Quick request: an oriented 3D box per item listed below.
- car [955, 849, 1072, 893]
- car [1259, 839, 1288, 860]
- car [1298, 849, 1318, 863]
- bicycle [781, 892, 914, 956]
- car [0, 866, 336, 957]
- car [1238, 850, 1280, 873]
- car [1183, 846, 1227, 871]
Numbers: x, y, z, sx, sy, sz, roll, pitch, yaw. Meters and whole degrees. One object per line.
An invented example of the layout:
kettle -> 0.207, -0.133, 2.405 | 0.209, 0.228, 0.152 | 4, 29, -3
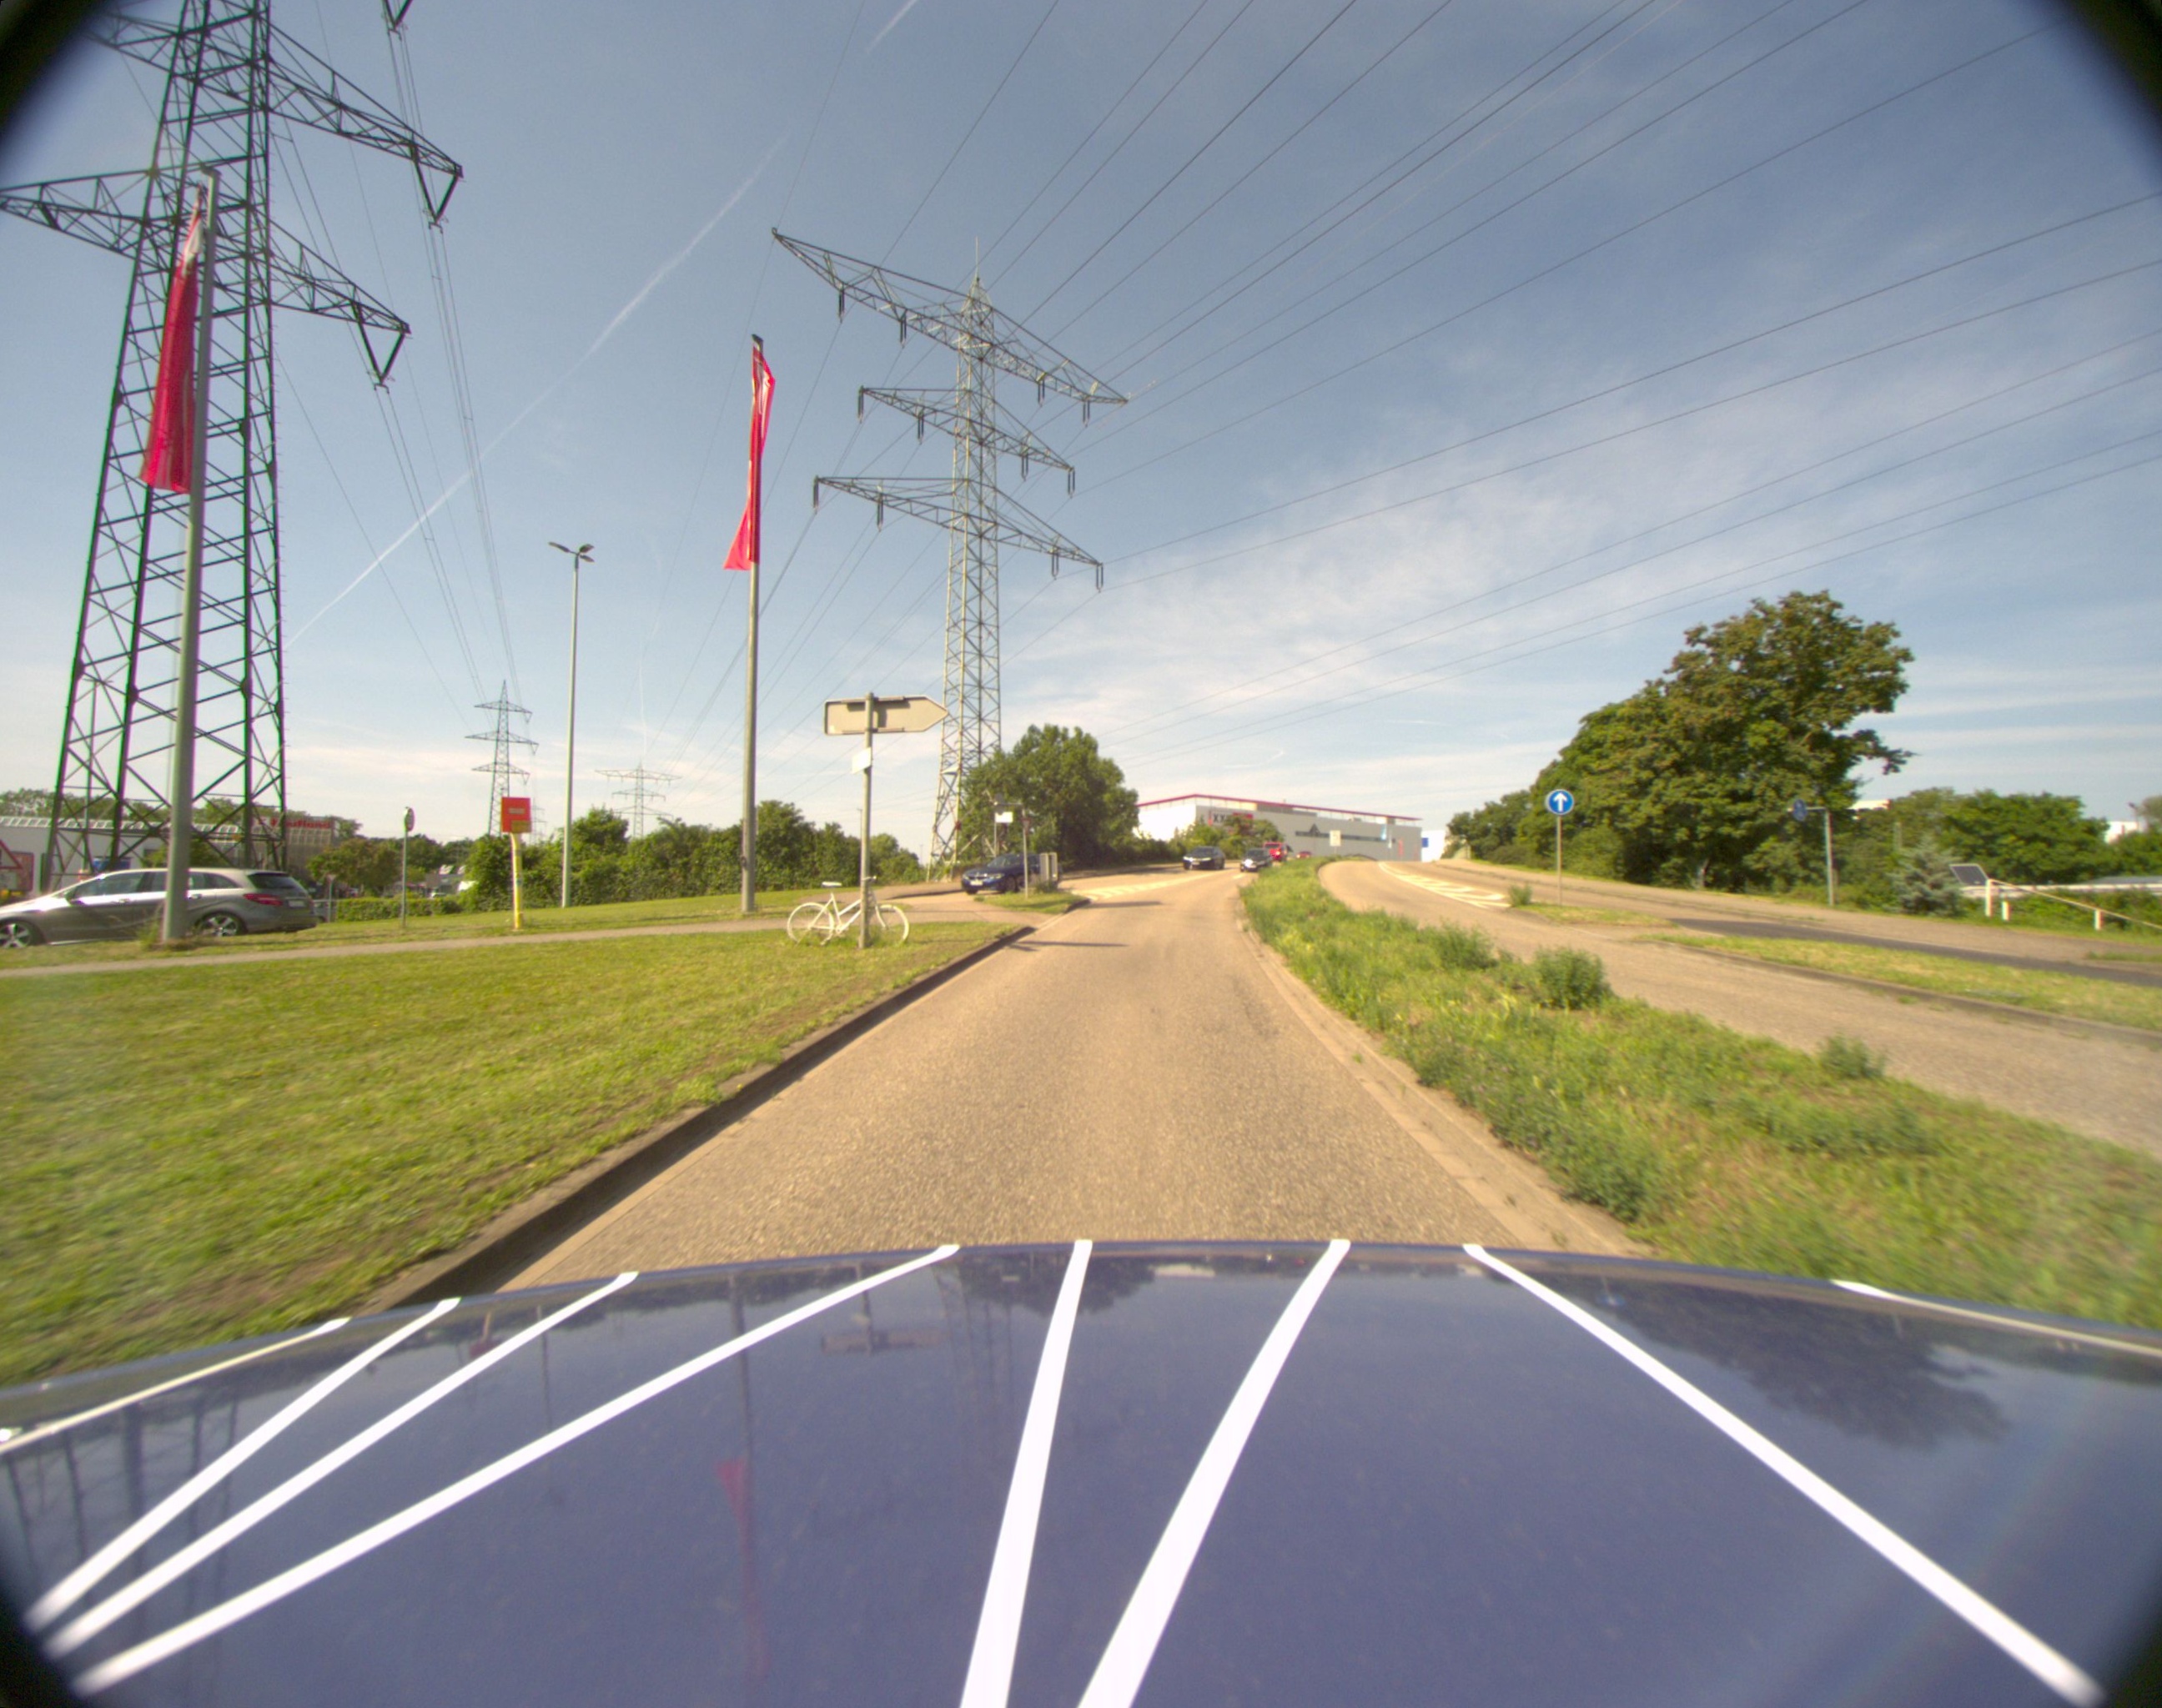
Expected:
car -> -2.341, 0.674, 27.671 | 1.788, 1.474, 4.531 | -1, -3, 34
car -> 18.666, -0.434, 73.666 | 1.984, 1.897, 4.149 | 1, 3, 25
car -> 27.404, 0.244, 91.775 | 1.774, 1.649, 4.150 | 2, 1, 23
bicycle -> -3.309, 0.989, 10.796 | 1.789, 0.884, 0.271 | 1, 1, -3
car -> -17.646, 1.031, 14.727 | 4.148, 1.520, 1.859 | -1, 0, -21
car -> 11.440, 0.456, 48.665 | 1.846, 1.410, 4.007 | -1, 0, 25
car -> 8.203, 0.266, 50.180 | 1.857, 1.520, 4.150 | 1, 2, 24
